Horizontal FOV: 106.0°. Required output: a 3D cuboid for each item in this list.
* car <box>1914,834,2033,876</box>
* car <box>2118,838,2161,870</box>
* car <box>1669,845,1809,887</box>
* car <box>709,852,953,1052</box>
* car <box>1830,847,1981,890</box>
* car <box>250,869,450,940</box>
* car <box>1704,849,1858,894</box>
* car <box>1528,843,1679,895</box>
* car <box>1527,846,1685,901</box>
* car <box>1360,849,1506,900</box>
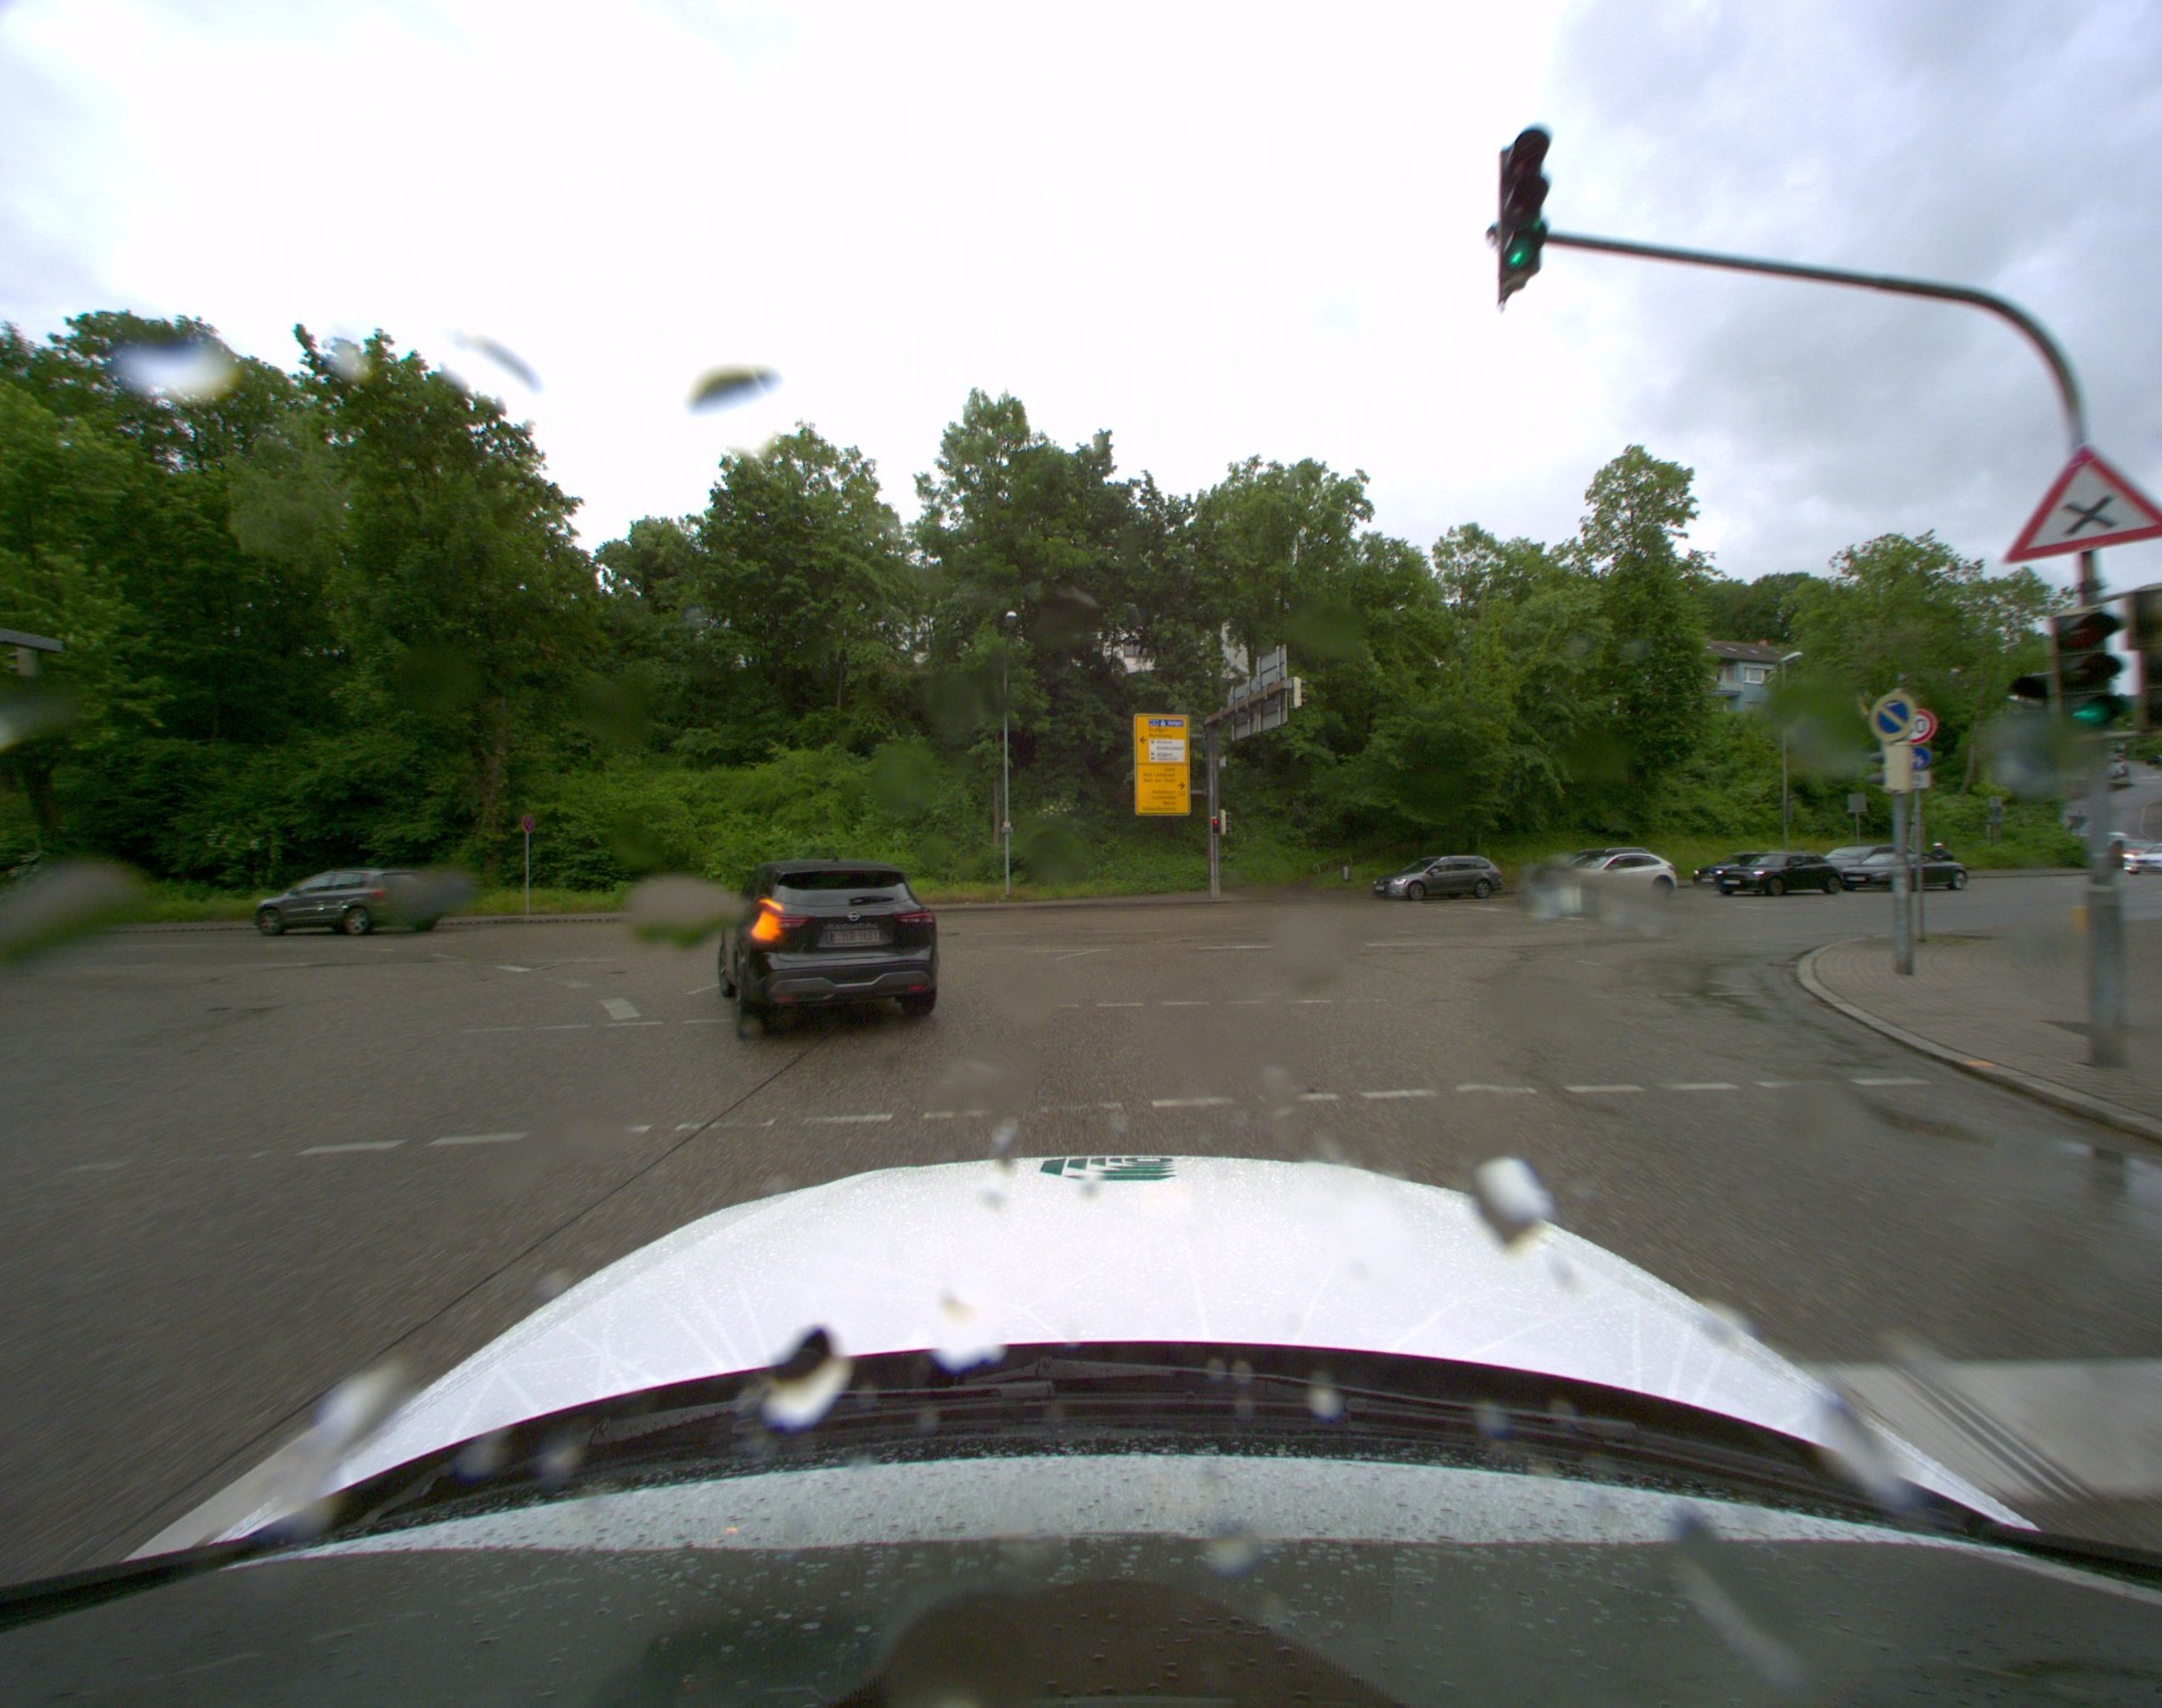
[{"bbox_3d":[39.212,0.052,35.785,4.626,1.697,1.816,-1,0,-19],"label":"car"},{"bbox_3d":[51.381,-0.026,38.073,4.961,1.483,2.007,-1,0,-18],"label":"car"},{"bbox_3d":[25.826,0.452,31.998,4.616,1.481,1.819,-1,0,-13],"label":"car"},{"bbox_3d":[-2.927,0.854,8.893,1.821,1.603,3.964,-2,-1,-28],"label":"car"},{"bbox_3d":[28.584,0.481,28.282,4.147,1.370,1.801,-1,0,-14],"label":"car"},{"bbox_3d":[-18.647,1.241,20.832,3.960,1.603,1.823,0,0,13],"label":"car"},{"bbox_3d":[23.201,0.553,27.027,4.147,1.370,1.801,-1,0,-14],"label":"car"},{"bbox_3d":[18.879,0.531,29.487,4.613,1.697,1.821,-1,0,-11],"label":"car"},{"bbox_3d":[16.360,0.587,25.432,4.147,1.561,1.801,-1,0,-14],"label":"car"},{"bbox_3d":[12.168,0.685,28.274,4.325,1.502,1.877,-2,0,-11],"label":"car"}]
